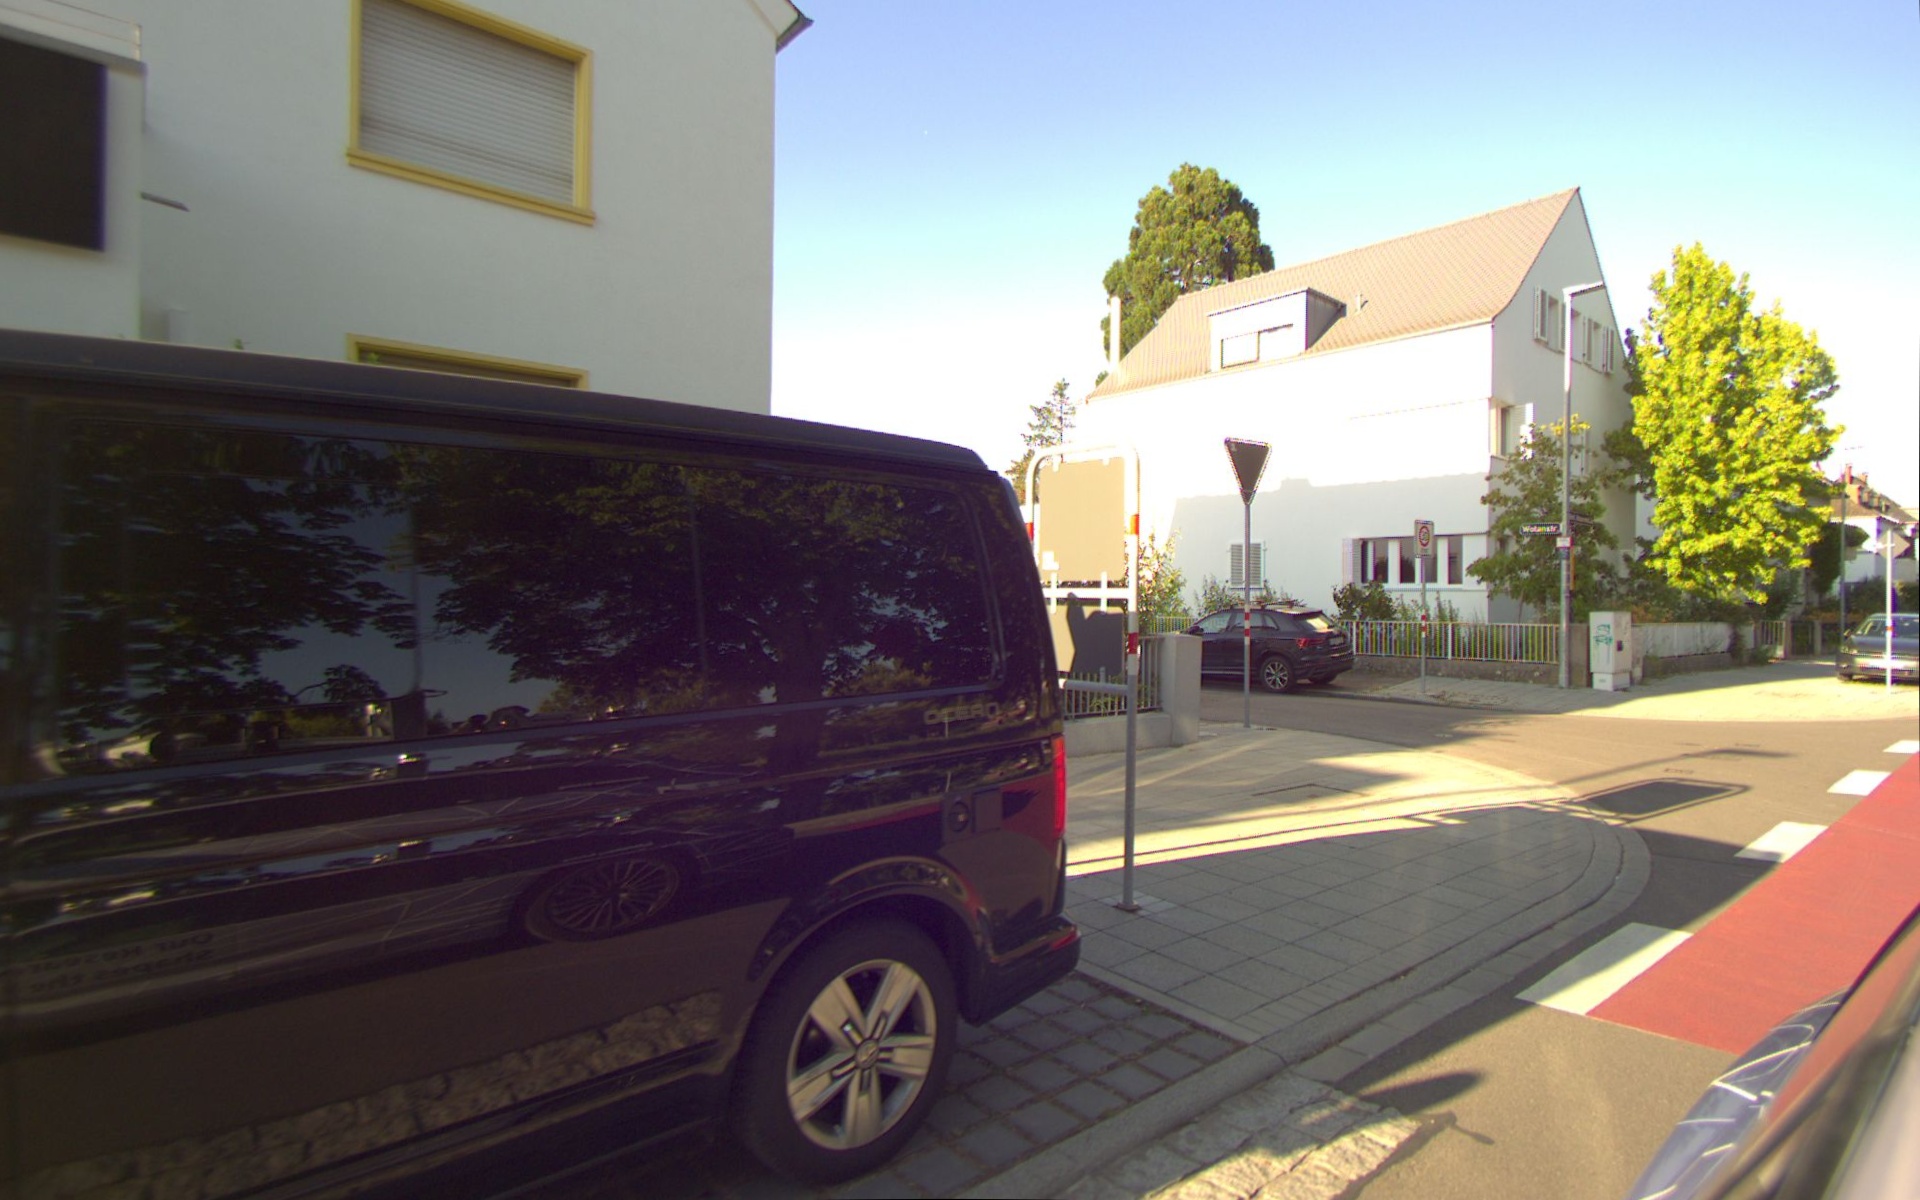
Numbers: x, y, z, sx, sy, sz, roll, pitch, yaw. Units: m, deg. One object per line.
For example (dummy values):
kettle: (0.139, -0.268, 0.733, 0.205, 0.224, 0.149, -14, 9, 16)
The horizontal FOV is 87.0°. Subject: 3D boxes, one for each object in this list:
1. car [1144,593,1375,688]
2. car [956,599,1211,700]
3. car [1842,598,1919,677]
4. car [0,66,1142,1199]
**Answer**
car: (5.924, 0.755, 20.354, 1.862, 1.710, 4.094, 0, -1, -42)
car: (1.974, 0.756, 17.100, 1.862, 1.489, 4.076, 0, -1, -42)
car: (20.491, 0.810, 21.640, 4.049, 1.501, 1.798, 2, 1, -40)
car: (-1.891, 0.268, 2.327, 4.728, 2.158, 1.910, 1, 2, -40)
